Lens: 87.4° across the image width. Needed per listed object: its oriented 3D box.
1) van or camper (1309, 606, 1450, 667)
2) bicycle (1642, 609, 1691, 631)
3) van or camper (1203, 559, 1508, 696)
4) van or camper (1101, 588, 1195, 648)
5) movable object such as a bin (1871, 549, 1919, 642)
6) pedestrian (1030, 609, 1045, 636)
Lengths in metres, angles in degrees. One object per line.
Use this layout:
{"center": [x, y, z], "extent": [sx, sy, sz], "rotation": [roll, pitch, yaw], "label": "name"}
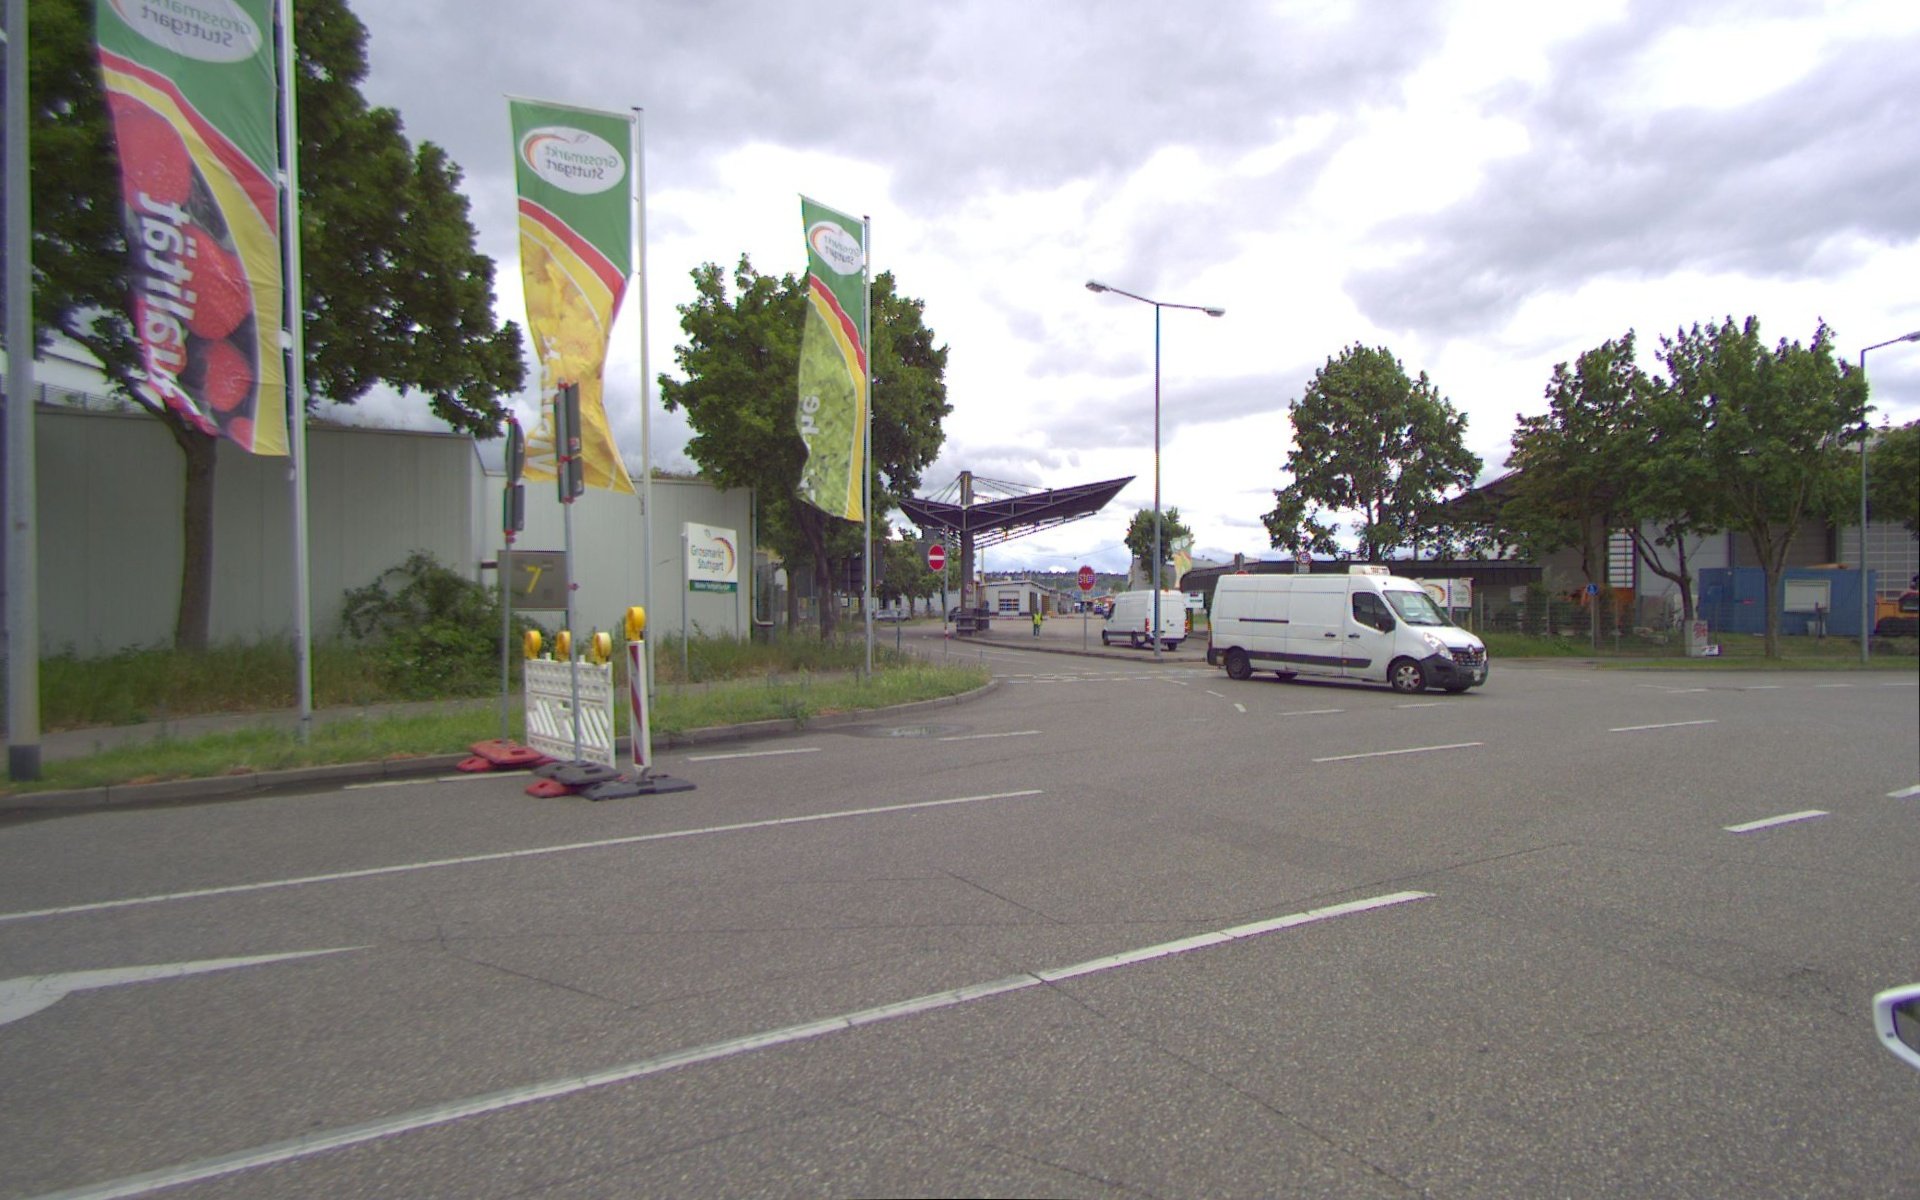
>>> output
{"center": [14.893, 1.234, 35.766], "extent": [4.215, 1.989, 1.947], "rotation": [1, 1, 42], "label": "van or camper"}
{"center": [32.176, 0.891, 45.765], "extent": [1.726, 0.987, 0.663], "rotation": [0, -1, 4], "label": "bicycle"}
{"center": [8.406, 0.494, 22.077], "extent": [2.249, 2.591, 6.051], "rotation": [0, 1, -34], "label": "van or camper"}
{"center": [8.614, 0.780, 46.808], "extent": [2.289, 2.591, 6.567], "rotation": [0, 0, -8], "label": "van or camper"}
{"center": [46.377, -0.163, 46.076], "extent": [6.420, 4.145, 2.735], "rotation": [0, -1, 5], "label": "movable object such as a bin"}
{"center": [4.451, 1.285, 57.614], "extent": [0.754, 1.579, 0.816], "rotation": [0, -1, -5], "label": "pedestrian"}
